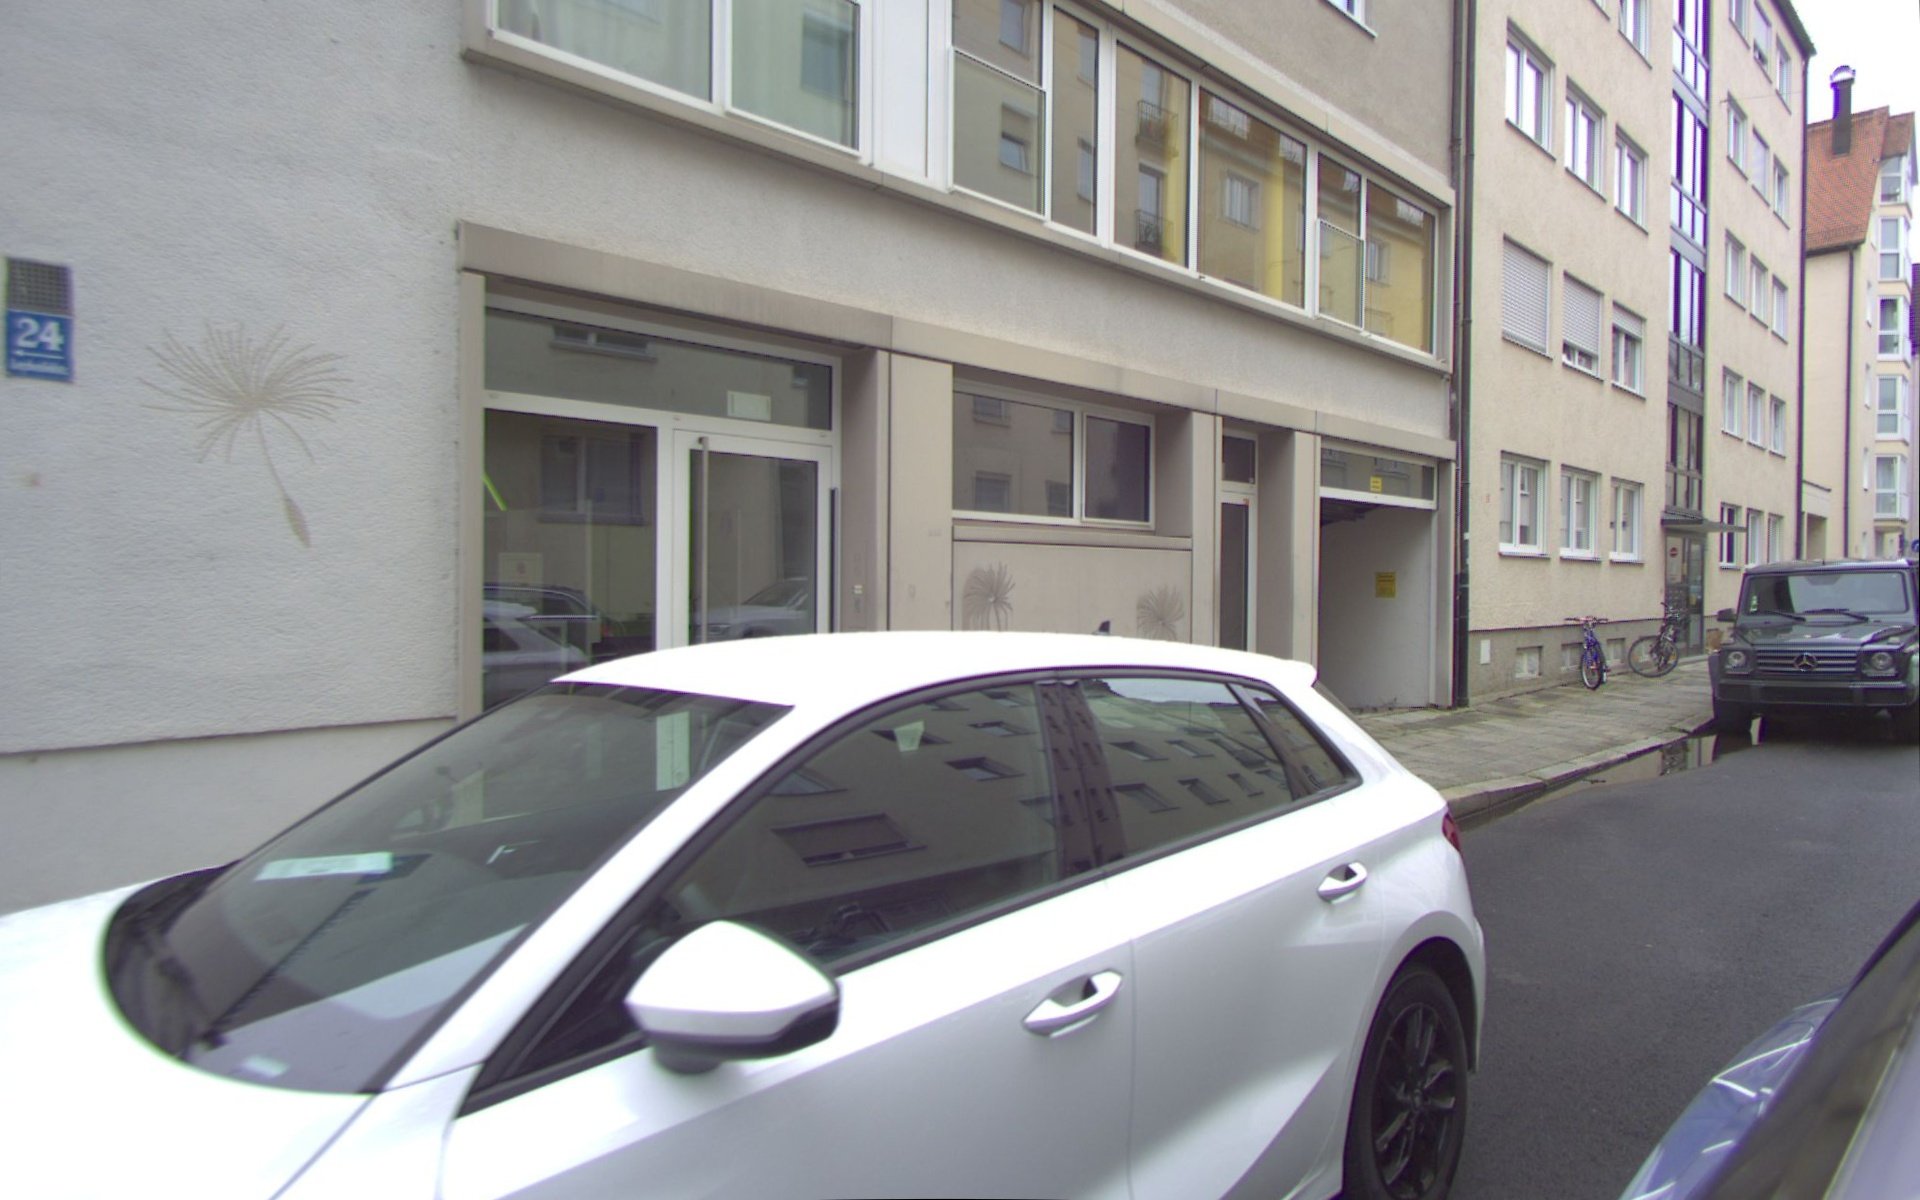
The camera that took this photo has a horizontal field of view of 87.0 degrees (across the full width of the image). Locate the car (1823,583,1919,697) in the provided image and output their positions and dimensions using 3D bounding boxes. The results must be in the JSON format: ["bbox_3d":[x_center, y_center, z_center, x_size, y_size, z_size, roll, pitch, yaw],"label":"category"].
[{"bbox_3d":[14.333,0.515,15.128,4.173,1.504,1.713,-2,1,-43],"label":"car"}]

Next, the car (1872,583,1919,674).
[{"bbox_3d":[18.083,0.461,18.526,4.173,1.504,1.713,-2,1,-43],"label":"car"}]

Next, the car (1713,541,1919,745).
[{"bbox_3d":[10.467,0.429,11.941,4.269,2.001,1.752,0,-1,-43],"label":"car"}]

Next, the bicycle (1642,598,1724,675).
[{"bbox_3d":[11.797,0.567,16.499,1.730,1.119,0.656,-1,5,-41],"label":"bicycle"}]

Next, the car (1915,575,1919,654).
[{"bbox_3d":[21.978,0.261,21.804,4.172,1.628,1.714,-2,1,-42],"label":"car"}]

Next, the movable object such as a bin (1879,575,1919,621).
[{"bbox_3d":[31.109,-0.083,33.311,1.559,1.440,1.034,-1,4,-41],"label":"movable object such as a bin"}]

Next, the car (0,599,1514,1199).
[{"bbox_3d":[-0.603,0.725,2.073,3.883,1.426,1.822,-1,0,-41],"label":"car"}]

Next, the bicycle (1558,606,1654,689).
[{"bbox_3d":[9.296,0.650,14.539,1.766,1.041,0.645,-1,5,-41],"label":"bicycle"}]
